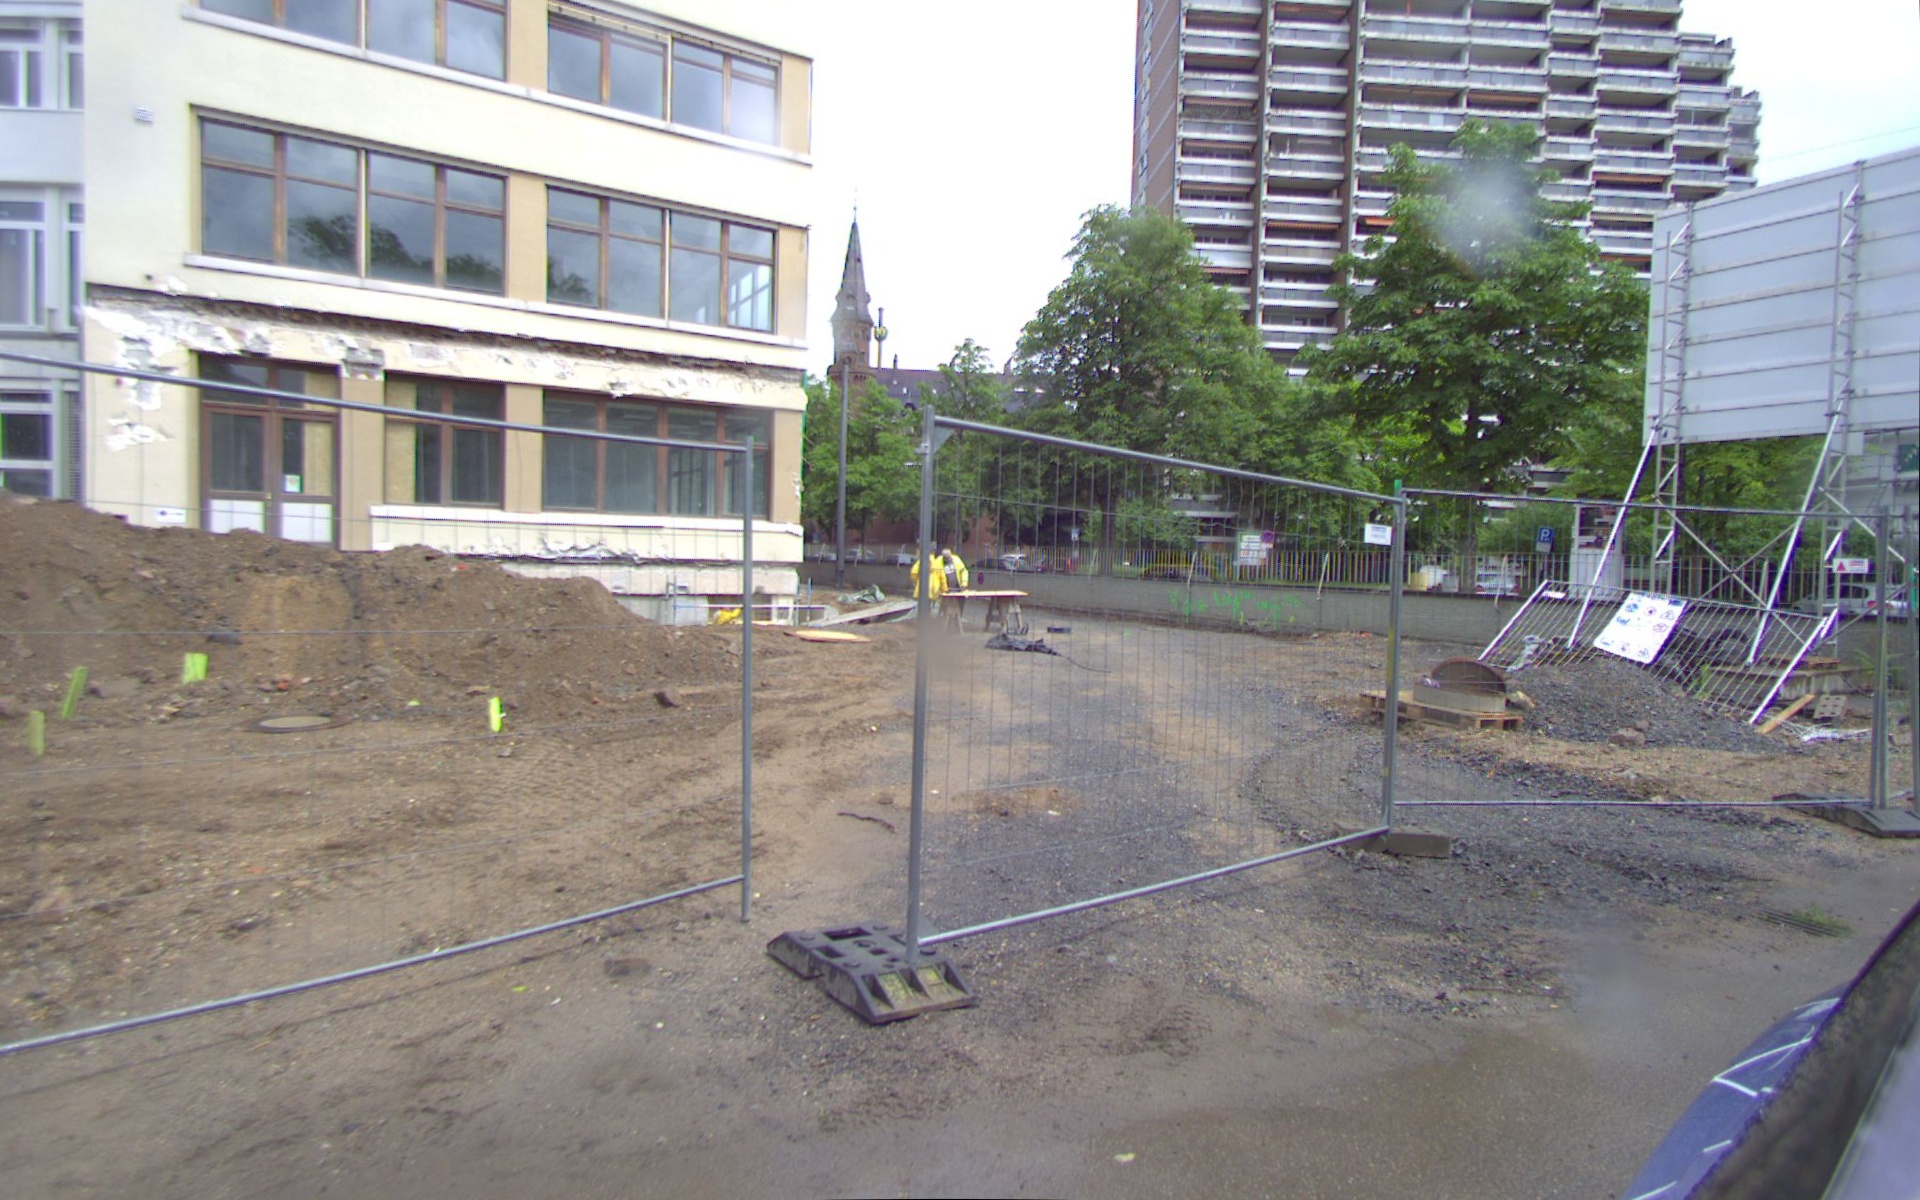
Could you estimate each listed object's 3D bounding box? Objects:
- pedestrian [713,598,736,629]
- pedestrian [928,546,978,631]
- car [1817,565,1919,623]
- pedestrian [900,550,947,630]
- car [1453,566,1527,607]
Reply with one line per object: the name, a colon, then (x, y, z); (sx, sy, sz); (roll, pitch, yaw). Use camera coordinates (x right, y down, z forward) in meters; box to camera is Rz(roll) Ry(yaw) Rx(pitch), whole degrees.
pedestrian: (-5.134, 0.292, 22.027); (0.384, 0.669, 0.346); (1, 2, -33)
pedestrian: (-0.141, -0.247, 20.846); (0.769, 1.694, 0.707); (2, 2, 24)
car: (25.896, -0.226, 28.054); (1.834, 1.504, 3.978); (0, 2, 18)
pedestrian: (-0.707, -0.207, 19.846); (0.638, 1.527, 0.624); (0, 2, -43)
car: (20.180, -0.556, 38.710); (1.834, 1.504, 3.978); (0, 2, 18)
